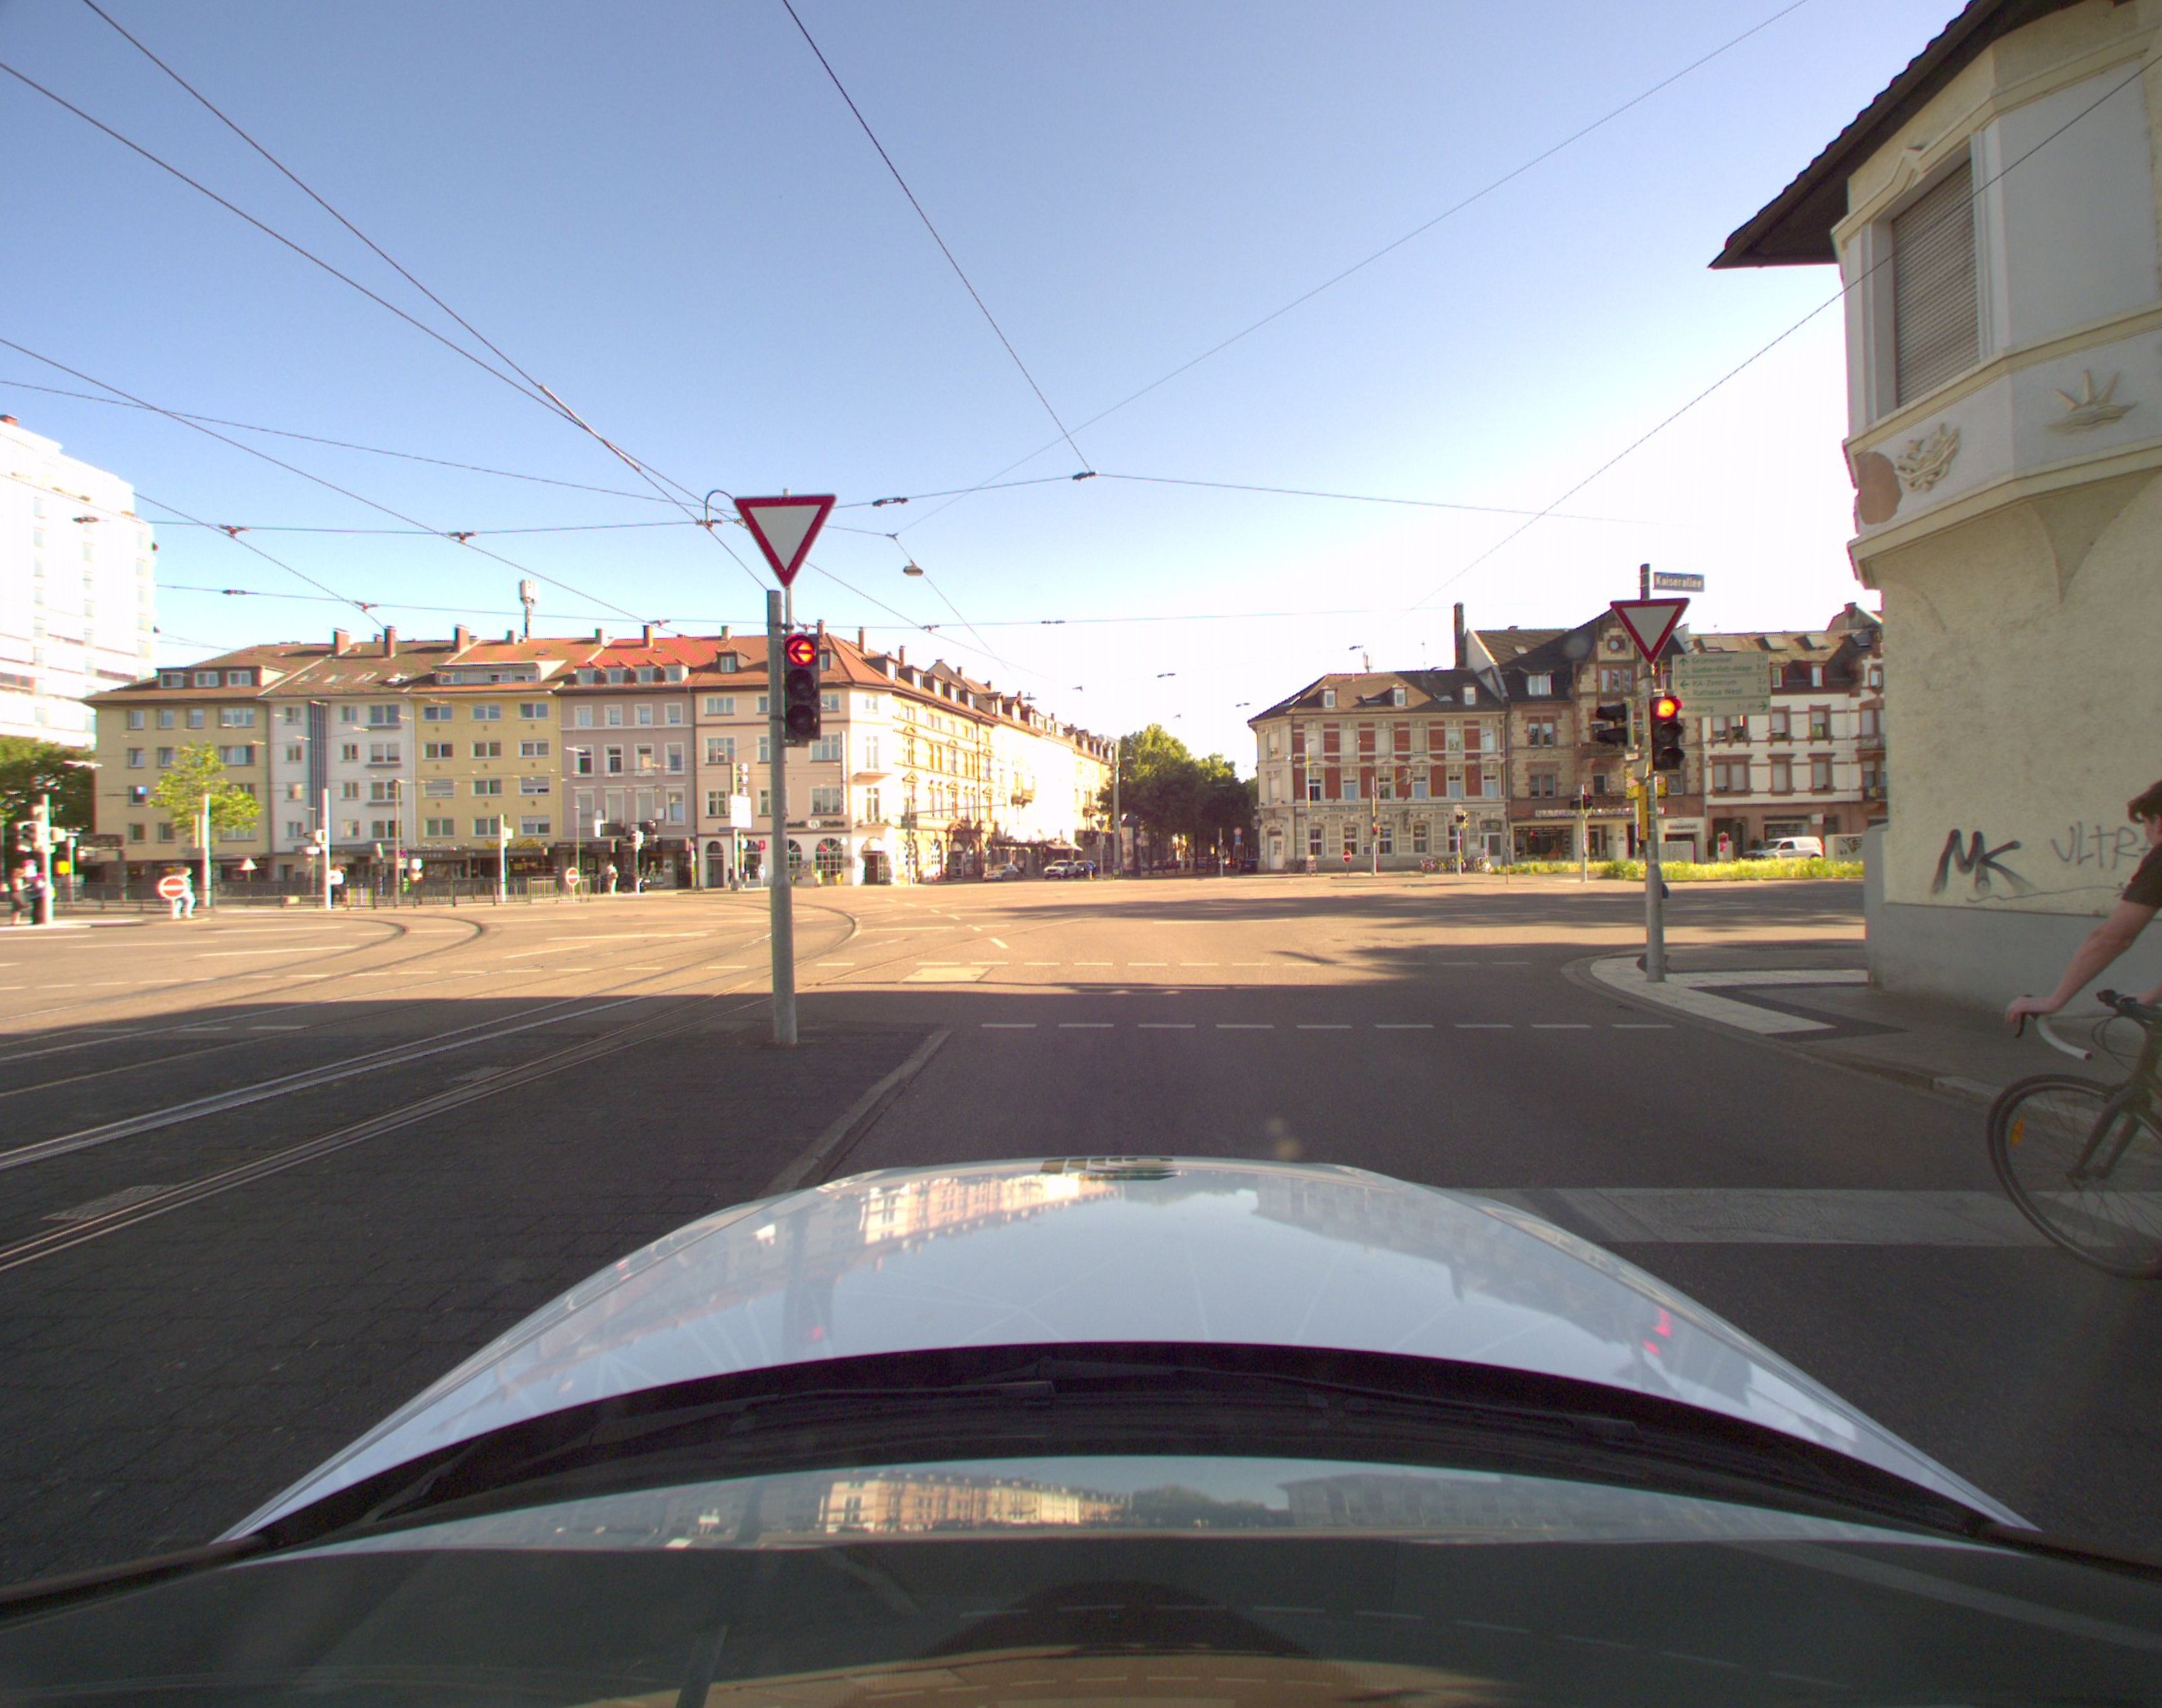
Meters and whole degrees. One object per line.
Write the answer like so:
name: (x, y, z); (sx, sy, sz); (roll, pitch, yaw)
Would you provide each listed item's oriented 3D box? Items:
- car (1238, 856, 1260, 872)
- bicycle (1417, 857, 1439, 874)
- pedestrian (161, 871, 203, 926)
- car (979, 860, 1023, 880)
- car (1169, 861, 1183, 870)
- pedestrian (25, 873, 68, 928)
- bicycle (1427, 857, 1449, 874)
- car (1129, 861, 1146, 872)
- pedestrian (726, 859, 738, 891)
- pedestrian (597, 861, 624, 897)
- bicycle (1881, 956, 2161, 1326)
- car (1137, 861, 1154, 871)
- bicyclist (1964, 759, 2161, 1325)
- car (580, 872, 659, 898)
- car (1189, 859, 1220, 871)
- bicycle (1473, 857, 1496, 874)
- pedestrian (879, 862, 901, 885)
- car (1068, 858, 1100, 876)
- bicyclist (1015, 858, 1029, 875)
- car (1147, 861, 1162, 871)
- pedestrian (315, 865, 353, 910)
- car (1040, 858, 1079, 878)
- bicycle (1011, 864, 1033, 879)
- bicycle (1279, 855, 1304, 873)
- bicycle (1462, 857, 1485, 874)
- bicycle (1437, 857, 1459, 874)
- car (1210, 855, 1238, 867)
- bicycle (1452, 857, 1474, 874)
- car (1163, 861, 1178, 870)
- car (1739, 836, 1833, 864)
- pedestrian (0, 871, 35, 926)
car: (16.910, 0.999, 82.047); (1.637, 1.524, 3.772); (-2, -1, 20)
bicycle: (22.498, 0.743, 52.834); (0.603, 1.051, 1.641); (-1, 0, -3)
pedestrian: (-28.650, 1.421, 25.947); (0.548, 1.698, 0.751); (-2, 0, 26)
car: (-6.595, 1.309, 67.697); (2.080, 1.545, 4.382); (-2, 0, 16)
car: (15.874, 1.849, 136.199); (1.728, 1.397, 4.141); (1, 0, 16)
pedestrian: (-31.920, 1.424, 25.133); (0.790, 1.625, 0.716); (-2, -1, 44)
bicycle: (23.151, 0.739, 52.865); (0.603, 1.051, 1.641); (-1, 0, -3)
car: (7.610, 1.661, 109.999); (1.729, 1.397, 4.137); (1, 0, 12)
pedestrian: (-22.776, 1.360, 53.121); (0.506, 2.013, 0.505); (-1, 0, 5)
pedestrian: (-24.569, 1.312, 42.555); (0.871, 1.818, 0.811); (-1, 0, 2)
bicycle: (3.580, 0.938, 2.505); (0.530, 1.016, 1.759); (-1, 0, 2)
car: (9.184, 1.697, 115.769); (1.729, 1.397, 4.137); (1, 0, 12)
bicyclist: (3.577, 0.573, 2.493); (0.557, 1.730, 1.084); (0, -1, 2)
car: (-30.272, 1.995, 53.532); (3.978, 1.464, 1.998); (-2, 0, -4)
car: (17.494, 1.537, 114.988); (4.078, 1.646, 1.754); (1, 0, 17)
bicycle: (26.055, 0.716, 52.606); (0.603, 1.051, 1.641); (-1, 0, -3)
pedestrian: (-13.627, 1.394, 58.024); (1.029, 1.591, 1.075); (-2, 0, 30)
car: (0.295, 1.157, 73.689); (1.979, 1.513, 4.015); (-1, 0, 14)
bicyclist: (-4.763, 0.992, 65.868); (0.787, 1.375, 1.113); (-1, 0, 16)
car: (11.072, 1.741, 122.705); (1.729, 1.397, 4.137); (1, 0, 12)
pedestrian: (-28.645, 1.277, 31.224); (0.775, 1.698, 0.699); (-1, 0, 5)
car: (-1.727, 1.168, 67.366); (2.080, 1.499, 4.017); (-2, 0, 16)
bicycle: (-4.766, 1.435, 65.897); (0.745, 1.135, 2.821); (-1, 0, 16)
bicycle: (14.698, 0.695, 56.935); (1.625, 1.222, 0.609); (-1, 0, 18)
bicycle: (25.317, 0.721, 52.614); (0.603, 1.051, 1.641); (-1, 0, -3)
bicycle: (23.815, 0.734, 52.865); (0.603, 1.051, 1.641); (-1, 0, -3)
car: (23.381, 1.101, 133.067); (4.074, 1.919, 1.756); (1, 0, 23)
bicycle: (24.641, 0.726, 52.564); (0.603, 1.051, 1.641); (-1, 0, -3)
car: (14.450, 1.824, 131.452); (1.728, 1.397, 4.141); (1, 0, 16)
car: (45.386, -0.227, 52.465); (4.356, 1.654, 1.999); (-1, 0, -2)
pedestrian: (-33.091, 1.372, 25.308); (0.497, 1.698, 0.553); (-1, 0, -28)
